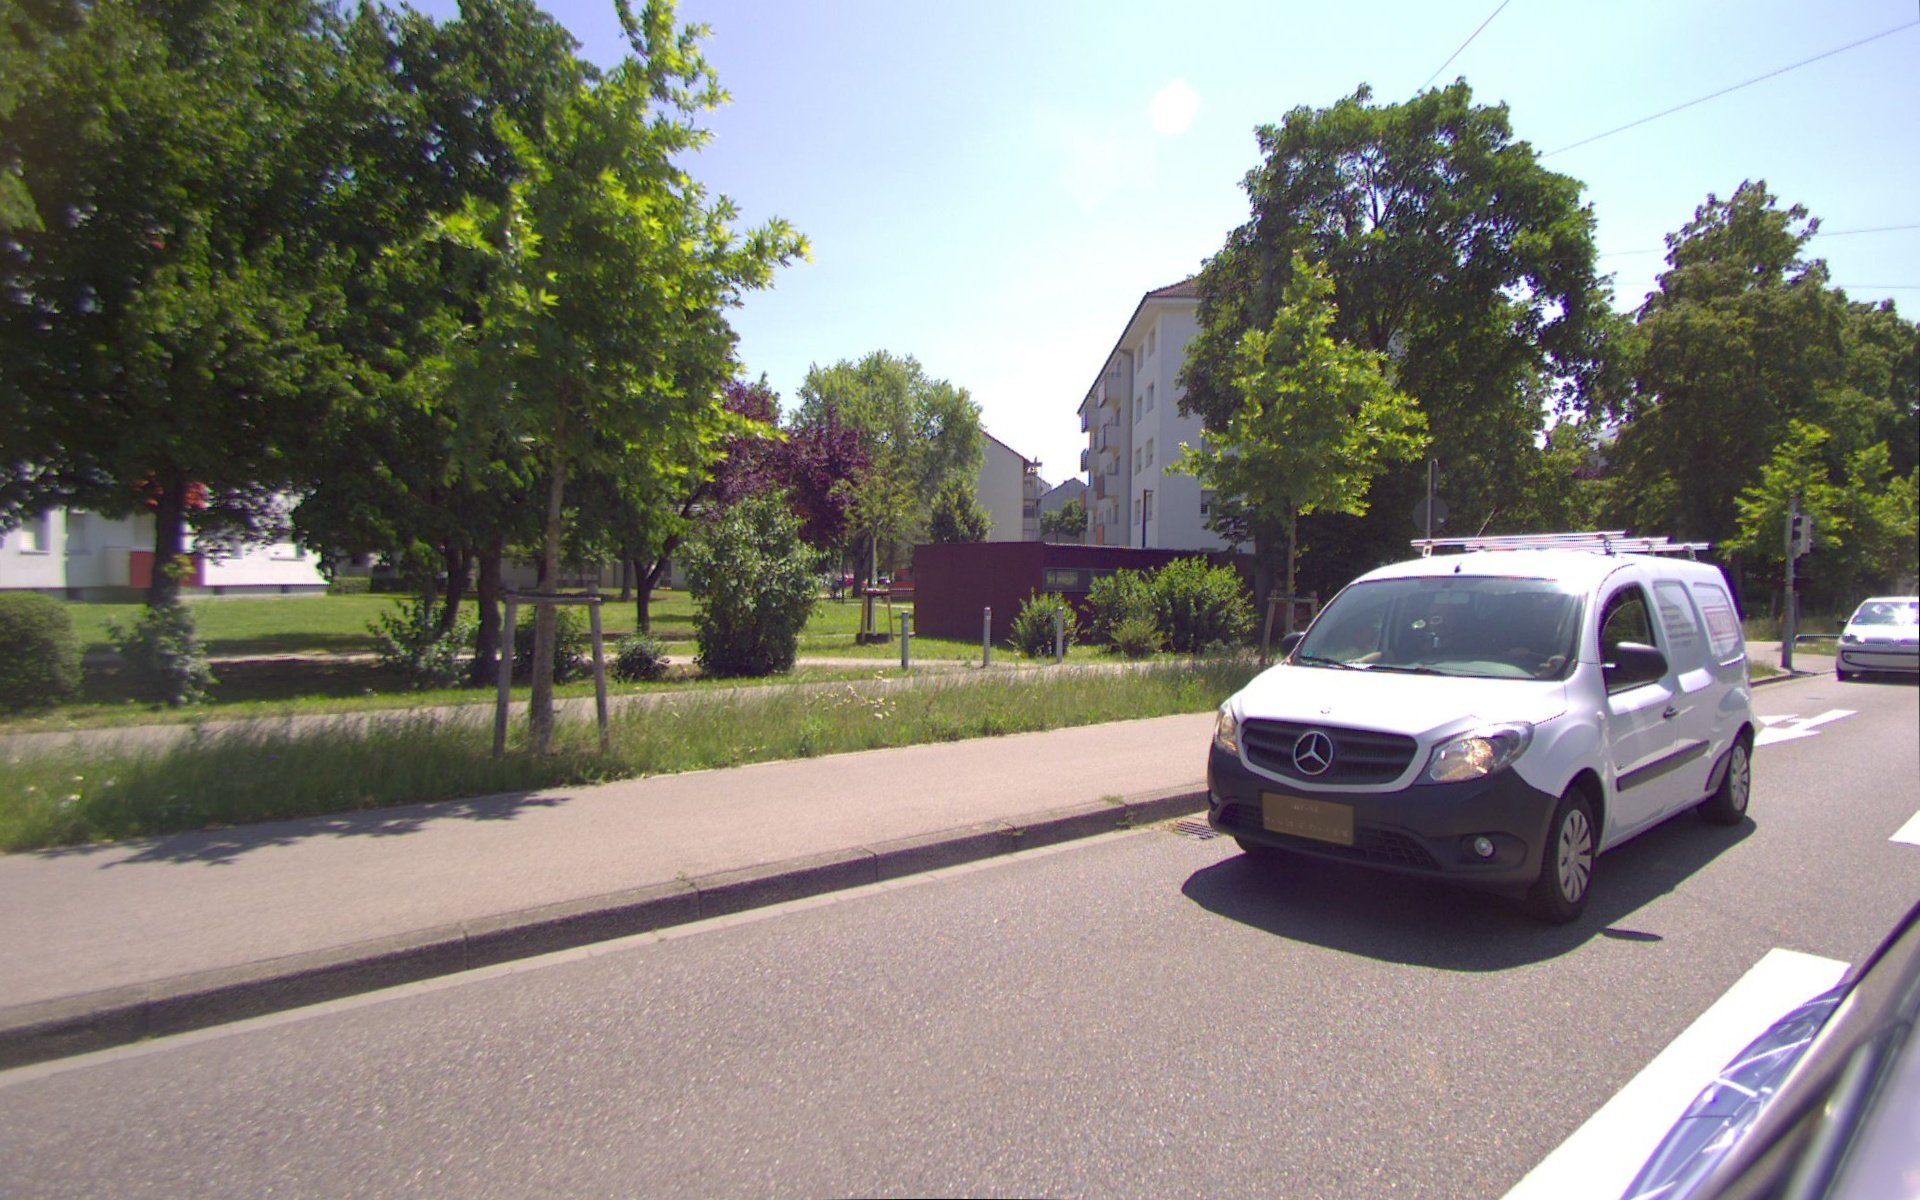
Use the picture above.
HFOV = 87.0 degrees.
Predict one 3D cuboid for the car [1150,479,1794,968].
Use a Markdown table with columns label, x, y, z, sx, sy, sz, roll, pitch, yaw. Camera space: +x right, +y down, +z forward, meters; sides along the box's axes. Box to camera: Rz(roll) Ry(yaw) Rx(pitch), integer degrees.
| label | x | y | z | sx | sy | sz | roll | pitch | yaw |
| --- | --- | --- | --- | --- | --- | --- | --- | --- | --- |
| car | 3.455 | 0.460 | 6.230 | 4.994 | 1.879 | 1.808 | 0 | 0 | -41 |

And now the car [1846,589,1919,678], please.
| label | x | y | z | sx | sy | sz | roll | pitch | yaw |
| --- | --- | --- | --- | --- | --- | --- | --- | --- | --- |
| car | 17.114 | 0.543 | 17.980 | 3.437 | 1.459 | 1.625 | 0 | 0 | -41 |
